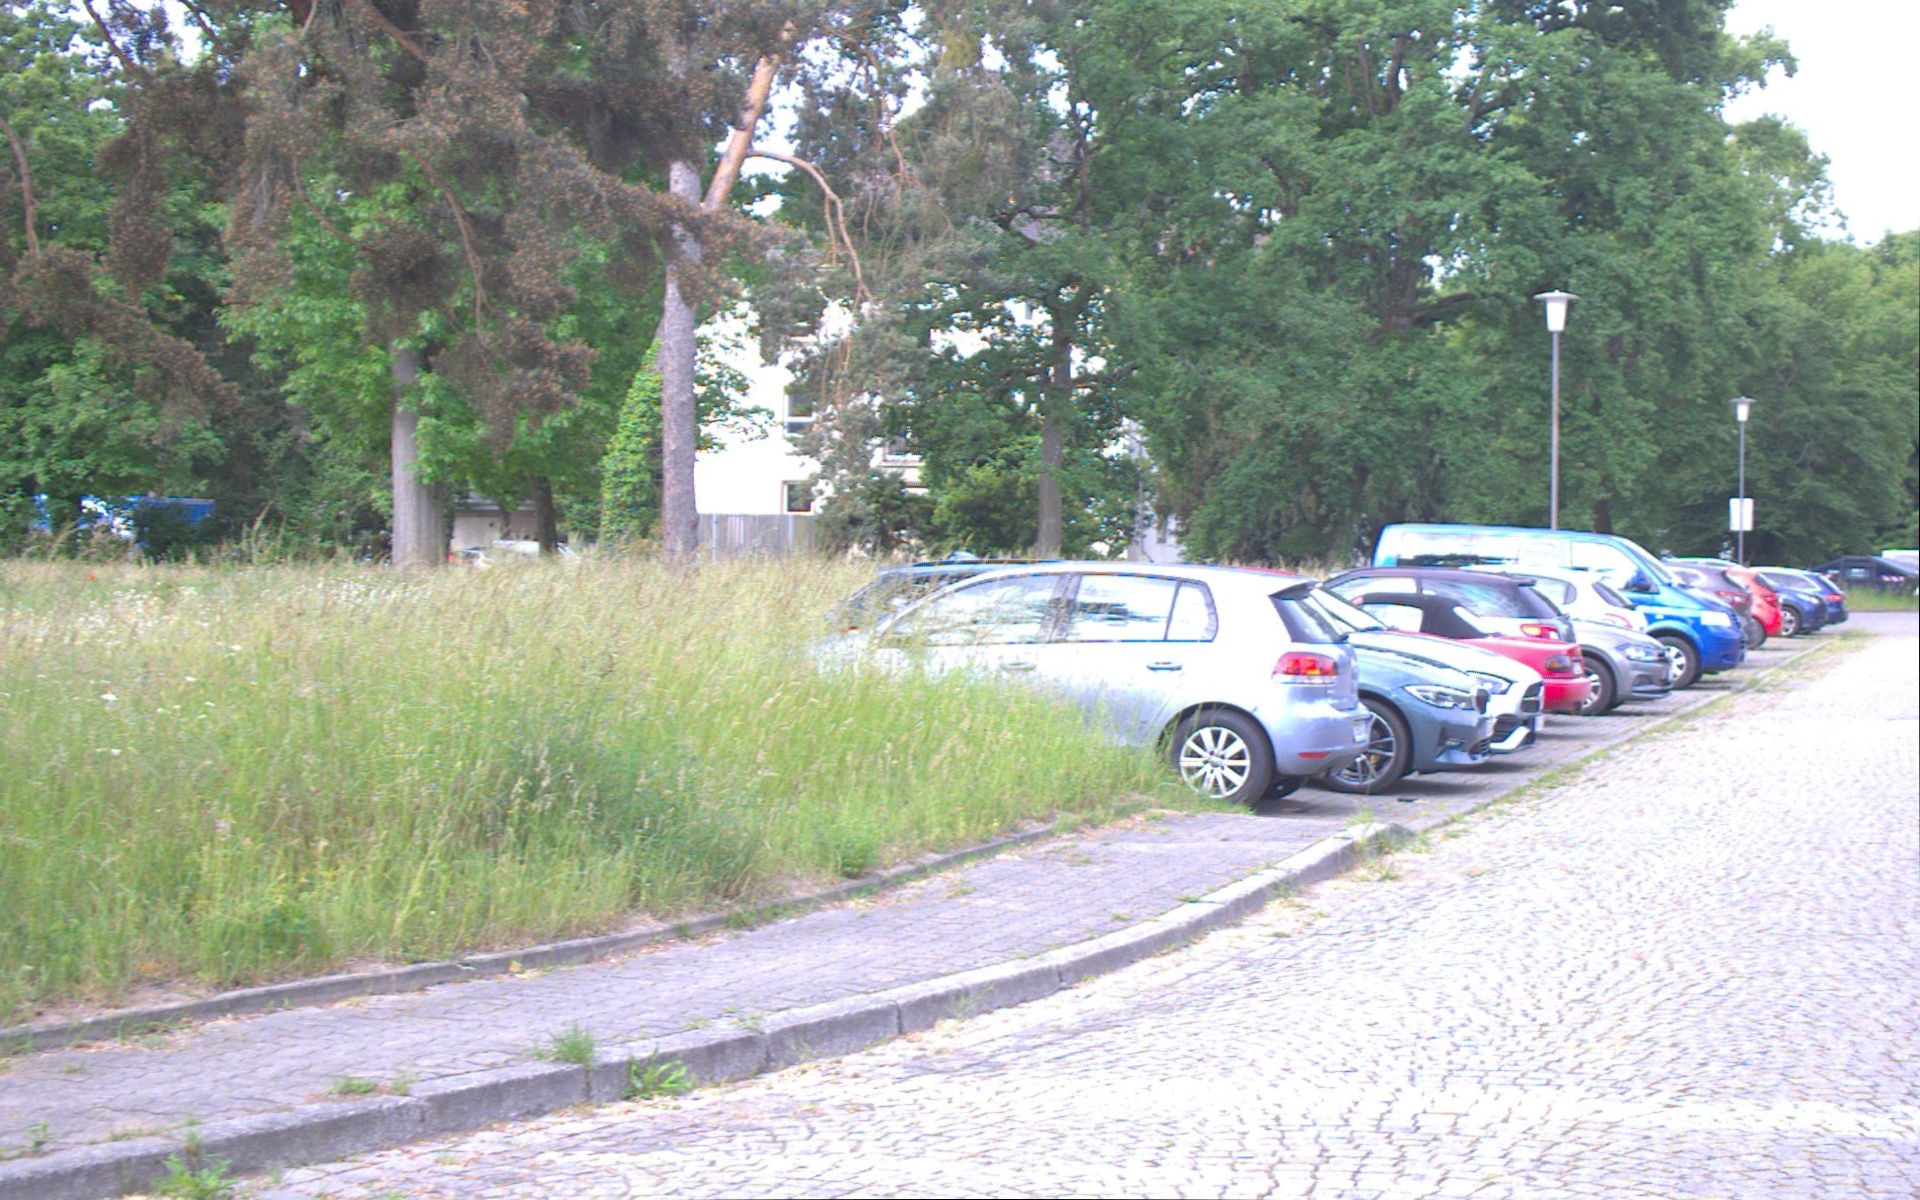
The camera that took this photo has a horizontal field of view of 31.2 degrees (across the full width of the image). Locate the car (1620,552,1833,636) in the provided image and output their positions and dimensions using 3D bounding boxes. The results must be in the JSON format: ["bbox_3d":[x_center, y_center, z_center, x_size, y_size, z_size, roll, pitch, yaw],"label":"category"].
[{"bbox_3d":[16.110,-0.140,72.216,4.231,1.571,1.886,2,1,16],"label":"car"}]

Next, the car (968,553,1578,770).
[{"bbox_3d":[2.432,0.426,26.346,4.377,1.502,1.934,1,1,15],"label":"car"}]

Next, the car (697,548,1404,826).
[{"bbox_3d":[0.596,0.476,21.187,3.990,1.537,1.904,1,1,16],"label":"car"}]

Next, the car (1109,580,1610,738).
[{"bbox_3d":[3.604,0.493,30.868,4.170,1.262,1.829,1,1,18],"label":"car"}]

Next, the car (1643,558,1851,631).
[{"bbox_3d":[17.561,-0.141,76.689,4.307,1.456,1.973,2,1,18],"label":"car"}]

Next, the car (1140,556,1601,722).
[{"bbox_3d":[4.018,0.347,33.516,4.170,1.477,1.844,1,1,18],"label":"car"}]

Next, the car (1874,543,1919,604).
[{"bbox_3d":[35.254,-0.913,122.270,5.238,2.160,1.999,1,1,15],"label":"car"}]

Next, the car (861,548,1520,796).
[{"bbox_3d":[1.631,0.447,23.723,4.252,1.542,1.934,1,1,13],"label":"car"}]

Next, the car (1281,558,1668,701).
[{"bbox_3d":[5.846,0.308,38.984,4.071,1.492,1.844,1,1,18],"label":"car"}]

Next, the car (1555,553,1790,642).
[{"bbox_3d":[12.956,-0.069,62.455,4.058,1.520,1.903,1,1,16],"label":"car"}]

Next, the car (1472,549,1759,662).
[{"bbox_3d":[10.034,0.065,52.512,4.169,1.616,1.985,1,1,14],"label":"car"}]

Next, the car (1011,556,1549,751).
[{"bbox_3d":[2.695,0.404,28.667,4.169,1.471,1.863,1,1,16],"label":"car"}]

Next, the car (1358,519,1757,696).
[{"bbox_3d":[7.659,0.064,43.957,4.785,2.115,2.114,1,1,16],"label":"car"}]

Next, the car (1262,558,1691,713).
[{"bbox_3d":[5.426,0.334,36.020,4.170,1.486,1.863,1,1,19],"label":"car"}]
